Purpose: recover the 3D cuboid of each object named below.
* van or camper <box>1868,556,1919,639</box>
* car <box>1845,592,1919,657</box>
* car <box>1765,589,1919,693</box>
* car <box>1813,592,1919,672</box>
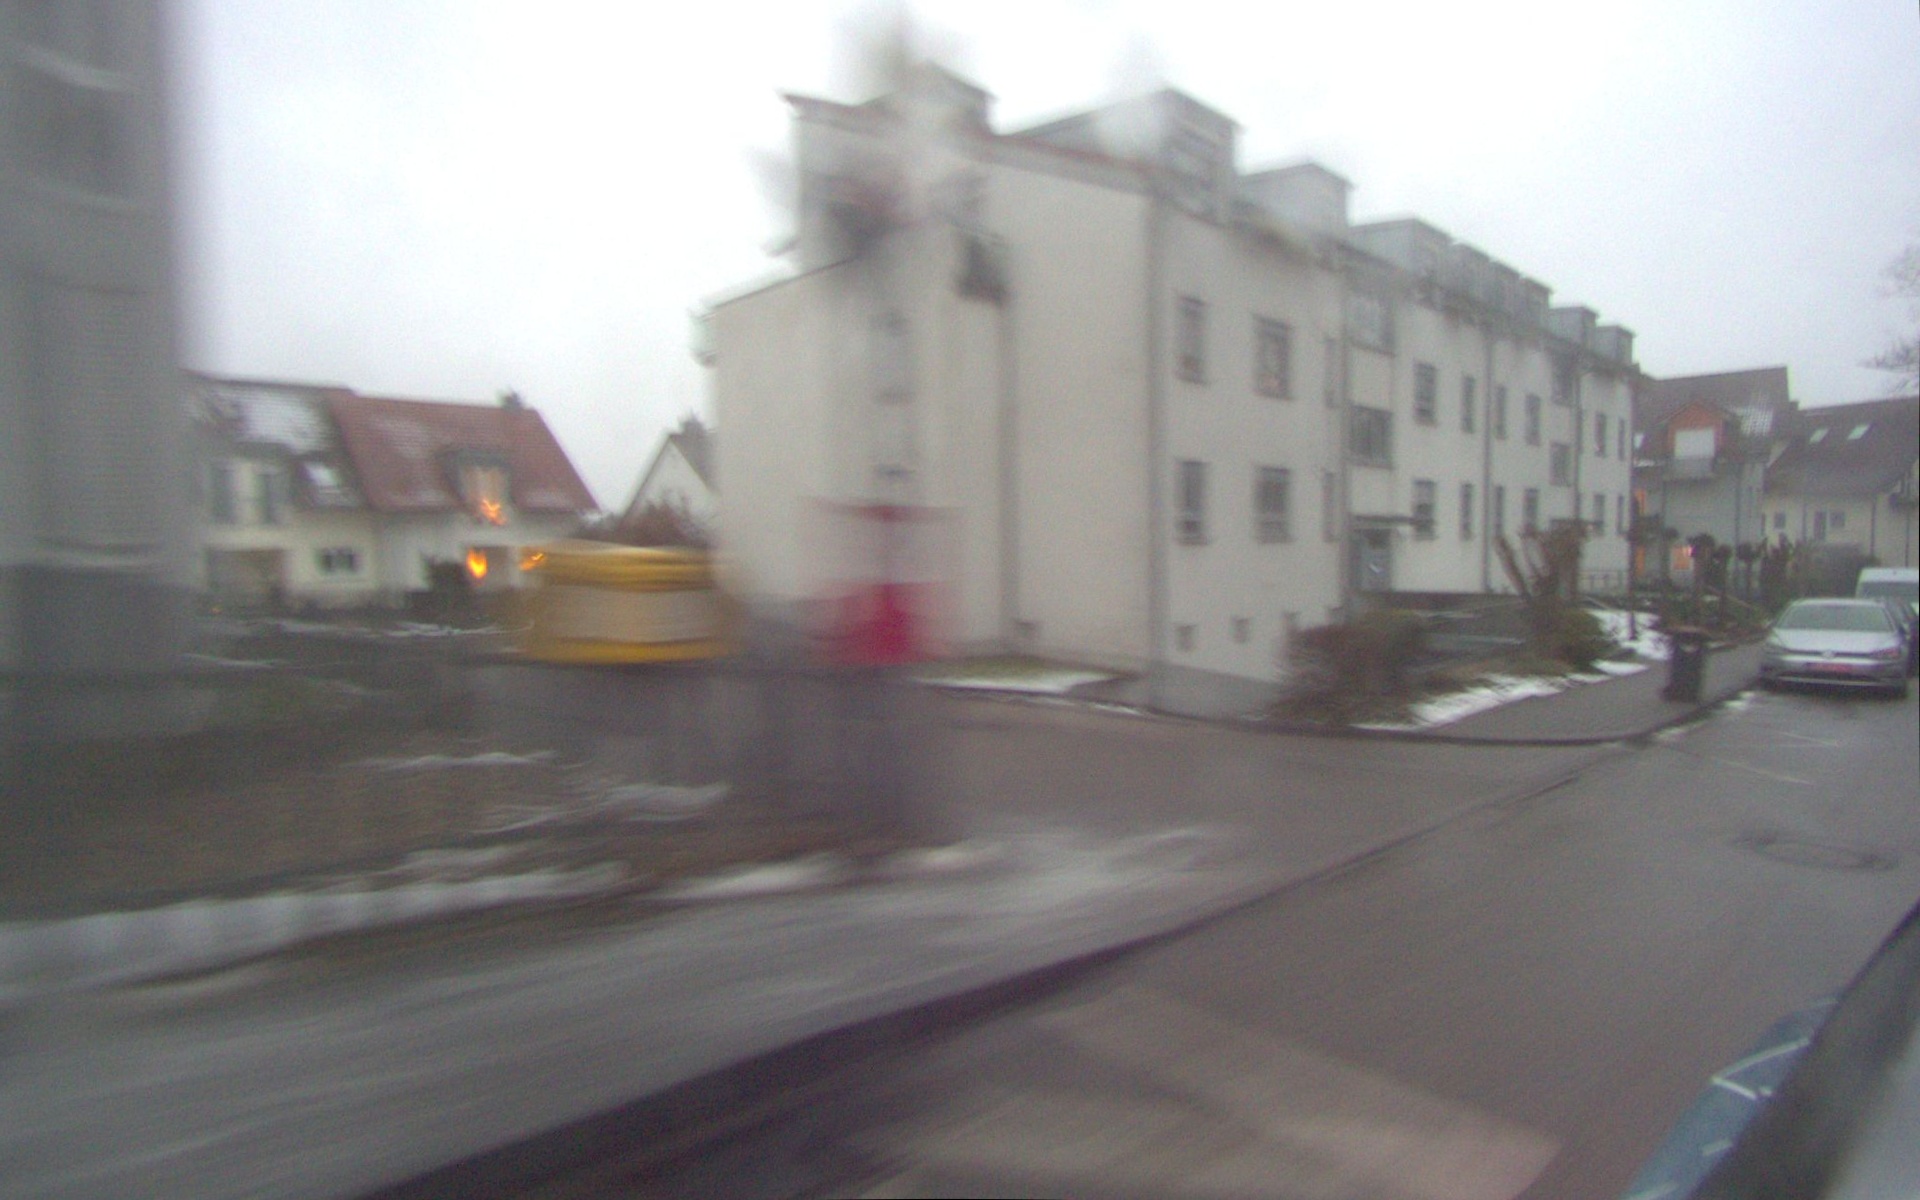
[{"bbox_3d":[31.705,-0.086,33.679,2.014,2.538,6.687,3,2,43],"label":"van or camper"},{"bbox_3d":[23.204,0.546,24.768,4.453,1.407,1.659,-1,3,-41],"label":"car"},{"bbox_3d":[14.401,0.555,16.382,1.738,1.447,4.386,0,0,44],"label":"car"},{"bbox_3d":[18.669,0.567,20.626,1.655,1.447,4.492,0,0,44],"label":"car"}]
